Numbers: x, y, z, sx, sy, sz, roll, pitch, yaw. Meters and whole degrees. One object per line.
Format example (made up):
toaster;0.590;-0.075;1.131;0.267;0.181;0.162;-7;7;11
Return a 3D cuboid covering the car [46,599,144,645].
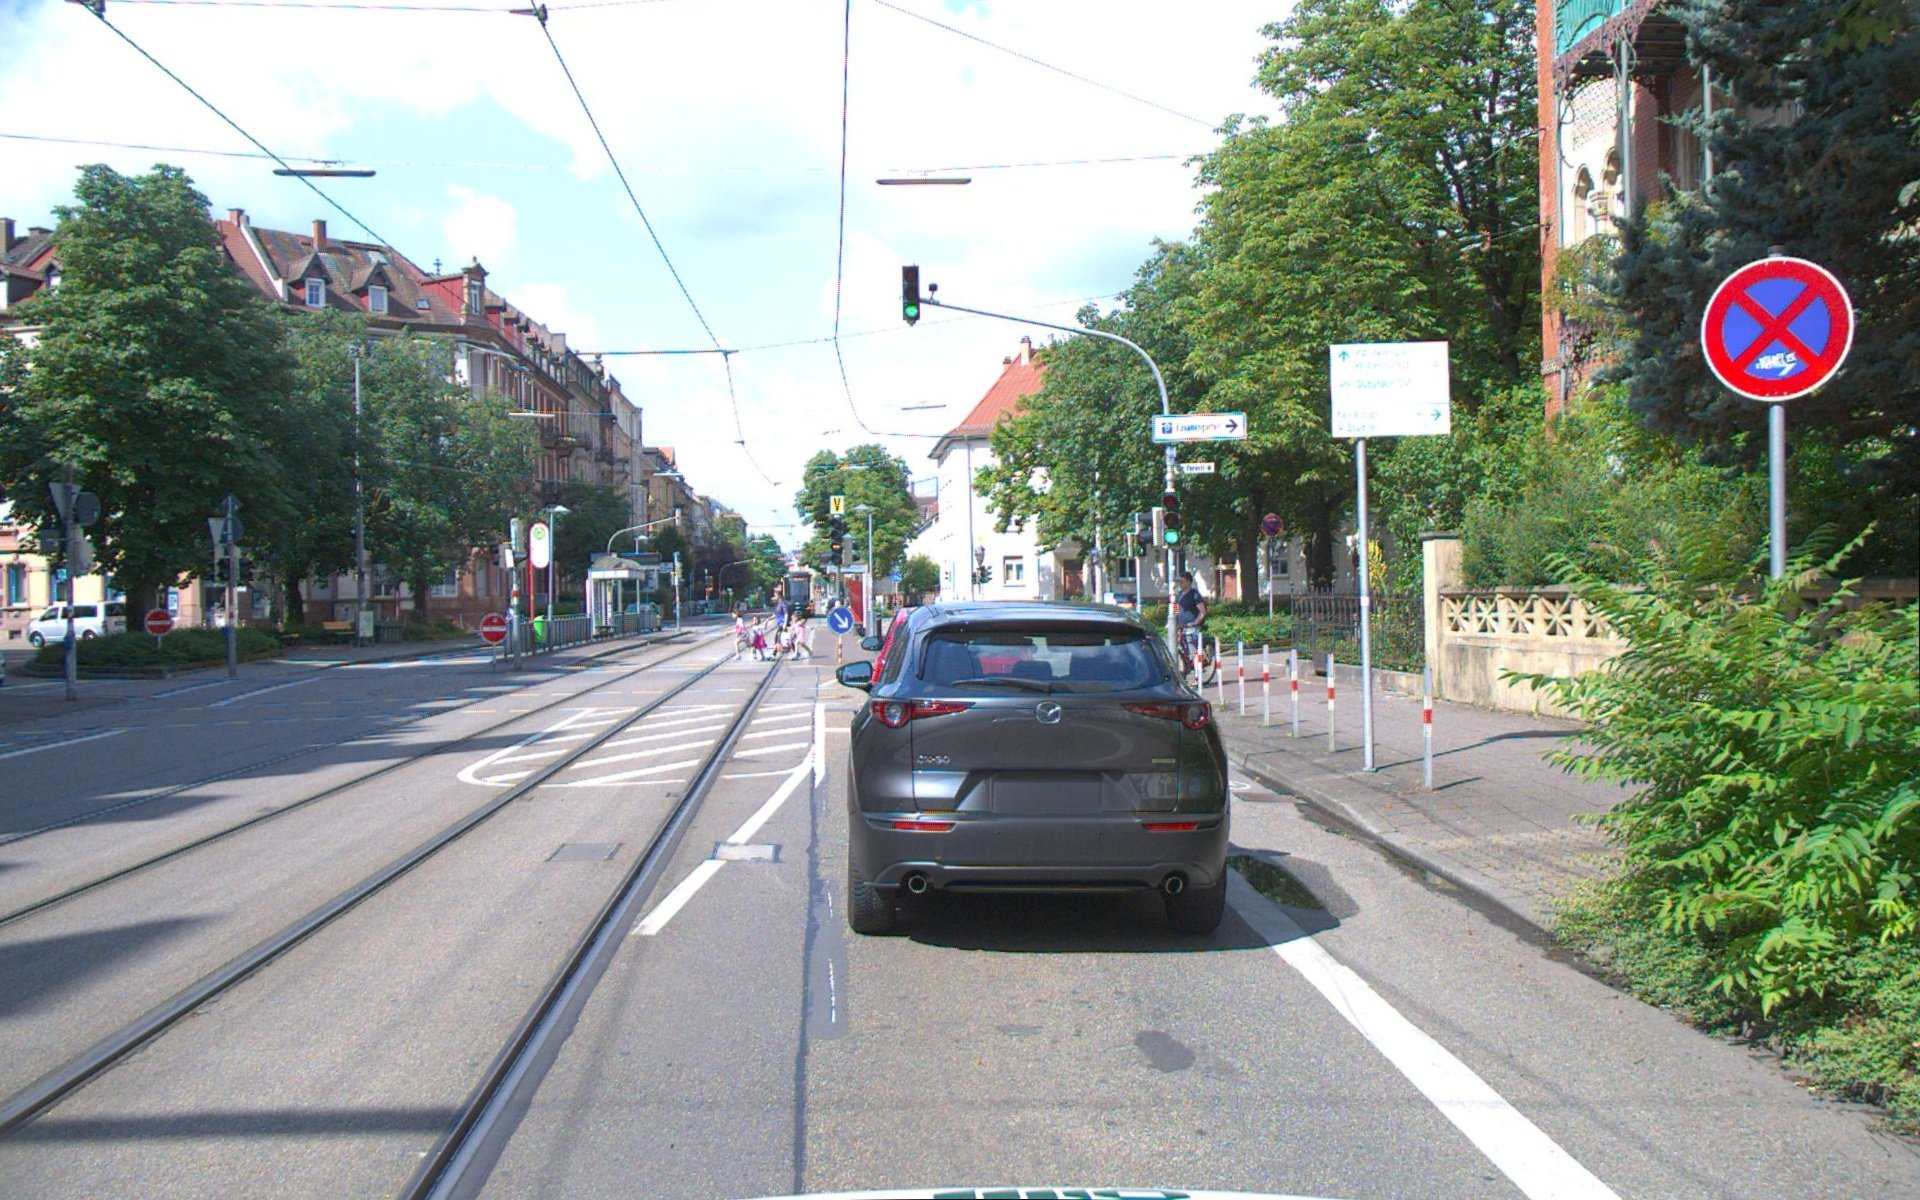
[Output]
car;-40.030;1.013;76.572;3.853;2.023;1.857;-1;0;19

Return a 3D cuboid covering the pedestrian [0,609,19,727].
pedestrian;-14.627;1.006;24.587;0.742;1.734;0.873;3;0;-5

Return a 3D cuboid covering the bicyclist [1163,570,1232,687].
bicyclist;3.817;0.449;26.622;0.724;1.851;0.813;-1;0;-27

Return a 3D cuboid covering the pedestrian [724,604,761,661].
pedestrian;-5.270;0.778;40.066;0.810;1.326;0.716;-3;0;-9

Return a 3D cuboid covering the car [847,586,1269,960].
car;0.395;0.733;8.913;1.746;1.540;3.999;1;0;-1

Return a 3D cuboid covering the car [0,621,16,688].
car;-22.512;1.222;36.450;3.799;1.445;1.713;-1;0;39

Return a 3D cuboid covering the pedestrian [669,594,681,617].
pedestrian;-21.772;0.437;126.286;0.772;1.718;0.731;-1;0;-3

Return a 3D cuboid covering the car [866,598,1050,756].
car;-0.074;0.732;17.614;1.739;1.489;3.841;0;0;-2

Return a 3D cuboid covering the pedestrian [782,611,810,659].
pedestrian;-3.934;0.840;39.732;0.629;1.133;0.443;-1;0;-10

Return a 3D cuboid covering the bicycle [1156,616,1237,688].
bicycle;3.842;0.825;26.740;0.382;1.053;1.836;-1;1;39

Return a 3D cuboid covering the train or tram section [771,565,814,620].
train or tram section;-13.246;-0.492;131.566;2.939;4.053;13.795;-1;-1;-4

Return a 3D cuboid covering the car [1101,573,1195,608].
car;8.928;-0.456;78.808;4.090;1.536;1.844;-1;2;38

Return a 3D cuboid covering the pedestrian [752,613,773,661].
pedestrian;-4.853;0.902;40.606;0.429;1.127;0.422;-3;0;-9

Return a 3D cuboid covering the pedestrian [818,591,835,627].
pedestrian;-6.401;0.435;79.199;0.756;1.704;0.667;-1;0;-6

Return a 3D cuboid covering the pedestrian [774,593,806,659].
pedestrian;-4.149;0.629;40.321;0.714;1.593;0.797;-1;0;-9

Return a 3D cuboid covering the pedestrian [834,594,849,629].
pedestrian;-5.460;0.537;76.371;0.654;1.573;0.580;-1;0;-6

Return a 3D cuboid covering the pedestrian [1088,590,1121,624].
pedestrian;5.718;0.268;65.457;1.170;1.291;0.556;-3;0;-10

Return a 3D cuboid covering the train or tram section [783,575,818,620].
train or tram section;-15.264;-0.123;159.080;2.939;4.053;13.795;-1;-1;-4
